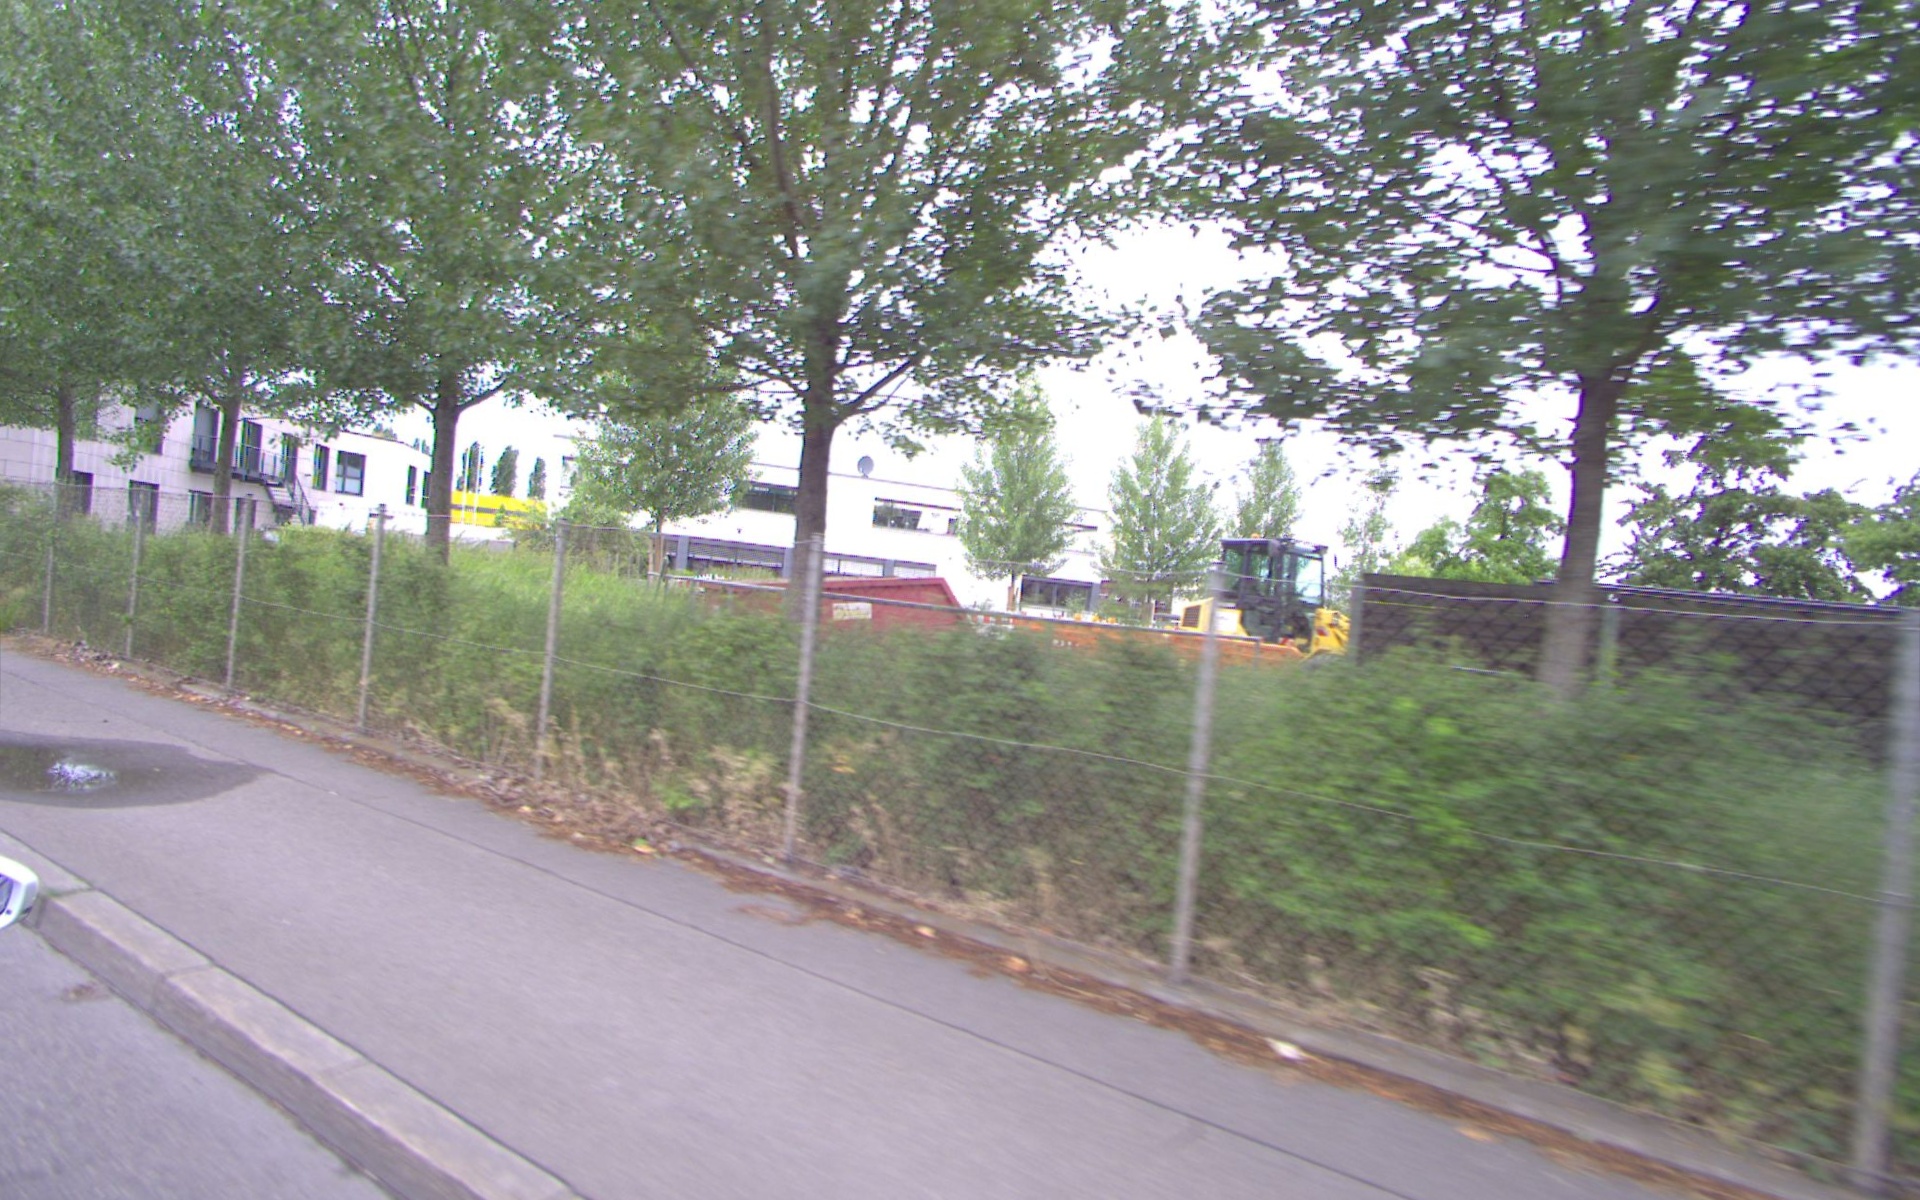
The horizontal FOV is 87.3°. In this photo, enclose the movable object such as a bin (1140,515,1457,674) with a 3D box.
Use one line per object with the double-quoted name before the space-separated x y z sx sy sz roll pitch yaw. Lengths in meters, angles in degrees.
"movable object such as a bin" 5.026 -0.032 15.492 1.979 2.038 4.260 3 -2 -34
